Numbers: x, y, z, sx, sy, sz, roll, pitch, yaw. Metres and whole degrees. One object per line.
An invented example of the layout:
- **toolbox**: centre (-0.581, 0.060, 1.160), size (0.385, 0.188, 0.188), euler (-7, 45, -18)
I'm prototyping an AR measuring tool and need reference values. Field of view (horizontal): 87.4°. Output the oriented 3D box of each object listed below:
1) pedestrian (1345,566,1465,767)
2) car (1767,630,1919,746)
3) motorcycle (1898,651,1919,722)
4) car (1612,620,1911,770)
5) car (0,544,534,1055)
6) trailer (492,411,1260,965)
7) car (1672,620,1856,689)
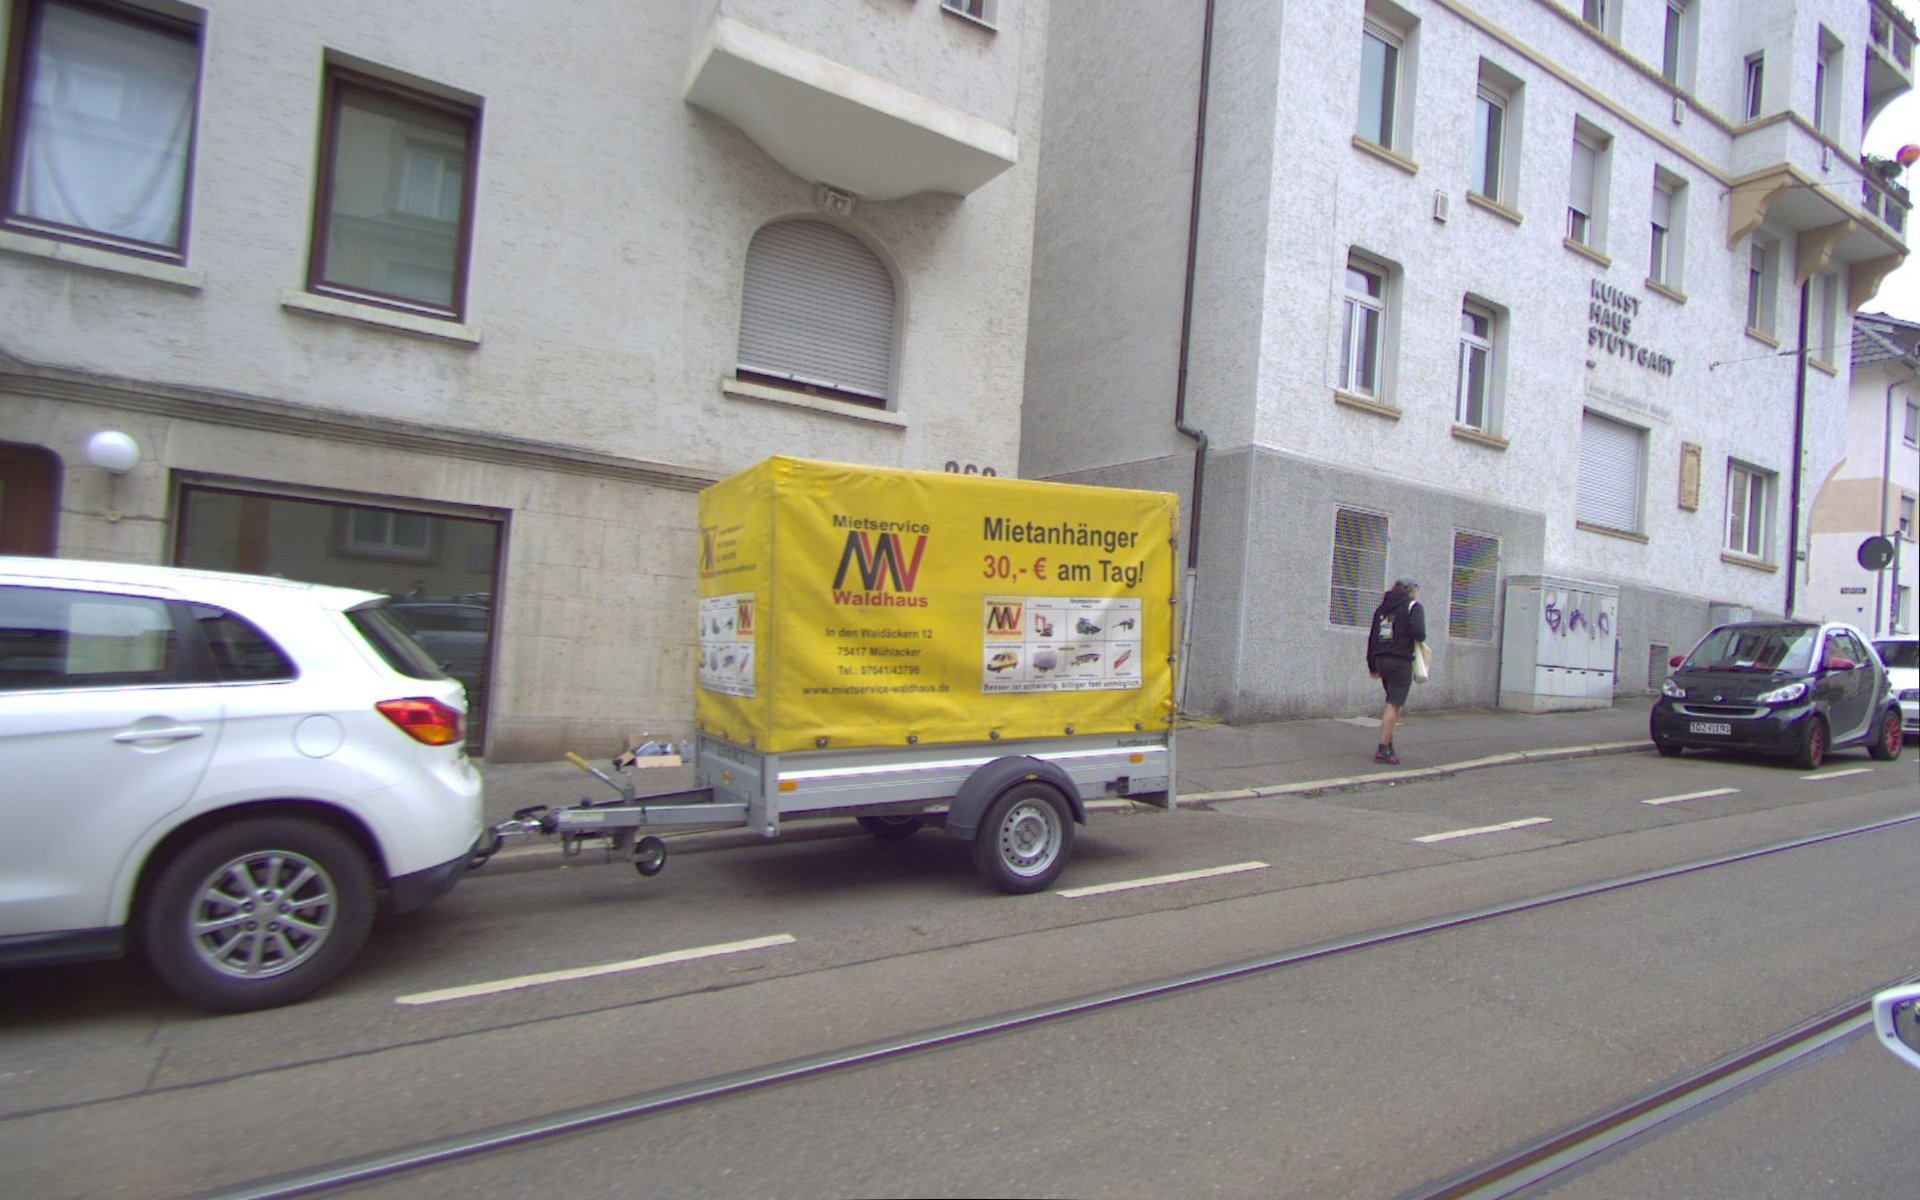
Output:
- **pedestrian**: centre (4.504, 0.655, 10.176), size (0.802, 1.932, 0.586), euler (2, 5, -30)
- **car**: centre (13.312, 1.164, 13.975), size (4.239, 1.375, 1.772), euler (2, -1, -29)
- **motorcycle**: centre (16.127, 1.387, 15.662), size (0.753, 1.149, 2.109), euler (1, -2, -16)
- **car**: centre (9.165, 1.019, 11.491), size (2.987, 1.487, 1.689), euler (2, -3, -30)
- **car**: centre (-3.926, 0.648, 3.655), size (4.217, 1.614, 1.689), euler (1, -2, -30)
- **trailer**: centre (-0.382, 0.405, 5.740), size (4.022, 2.184, 1.741), euler (1, -2, -30)
- **car**: centre (22.141, 1.475, 27.780), size (1.757, 1.511, 3.499), euler (8, -2, -29)
